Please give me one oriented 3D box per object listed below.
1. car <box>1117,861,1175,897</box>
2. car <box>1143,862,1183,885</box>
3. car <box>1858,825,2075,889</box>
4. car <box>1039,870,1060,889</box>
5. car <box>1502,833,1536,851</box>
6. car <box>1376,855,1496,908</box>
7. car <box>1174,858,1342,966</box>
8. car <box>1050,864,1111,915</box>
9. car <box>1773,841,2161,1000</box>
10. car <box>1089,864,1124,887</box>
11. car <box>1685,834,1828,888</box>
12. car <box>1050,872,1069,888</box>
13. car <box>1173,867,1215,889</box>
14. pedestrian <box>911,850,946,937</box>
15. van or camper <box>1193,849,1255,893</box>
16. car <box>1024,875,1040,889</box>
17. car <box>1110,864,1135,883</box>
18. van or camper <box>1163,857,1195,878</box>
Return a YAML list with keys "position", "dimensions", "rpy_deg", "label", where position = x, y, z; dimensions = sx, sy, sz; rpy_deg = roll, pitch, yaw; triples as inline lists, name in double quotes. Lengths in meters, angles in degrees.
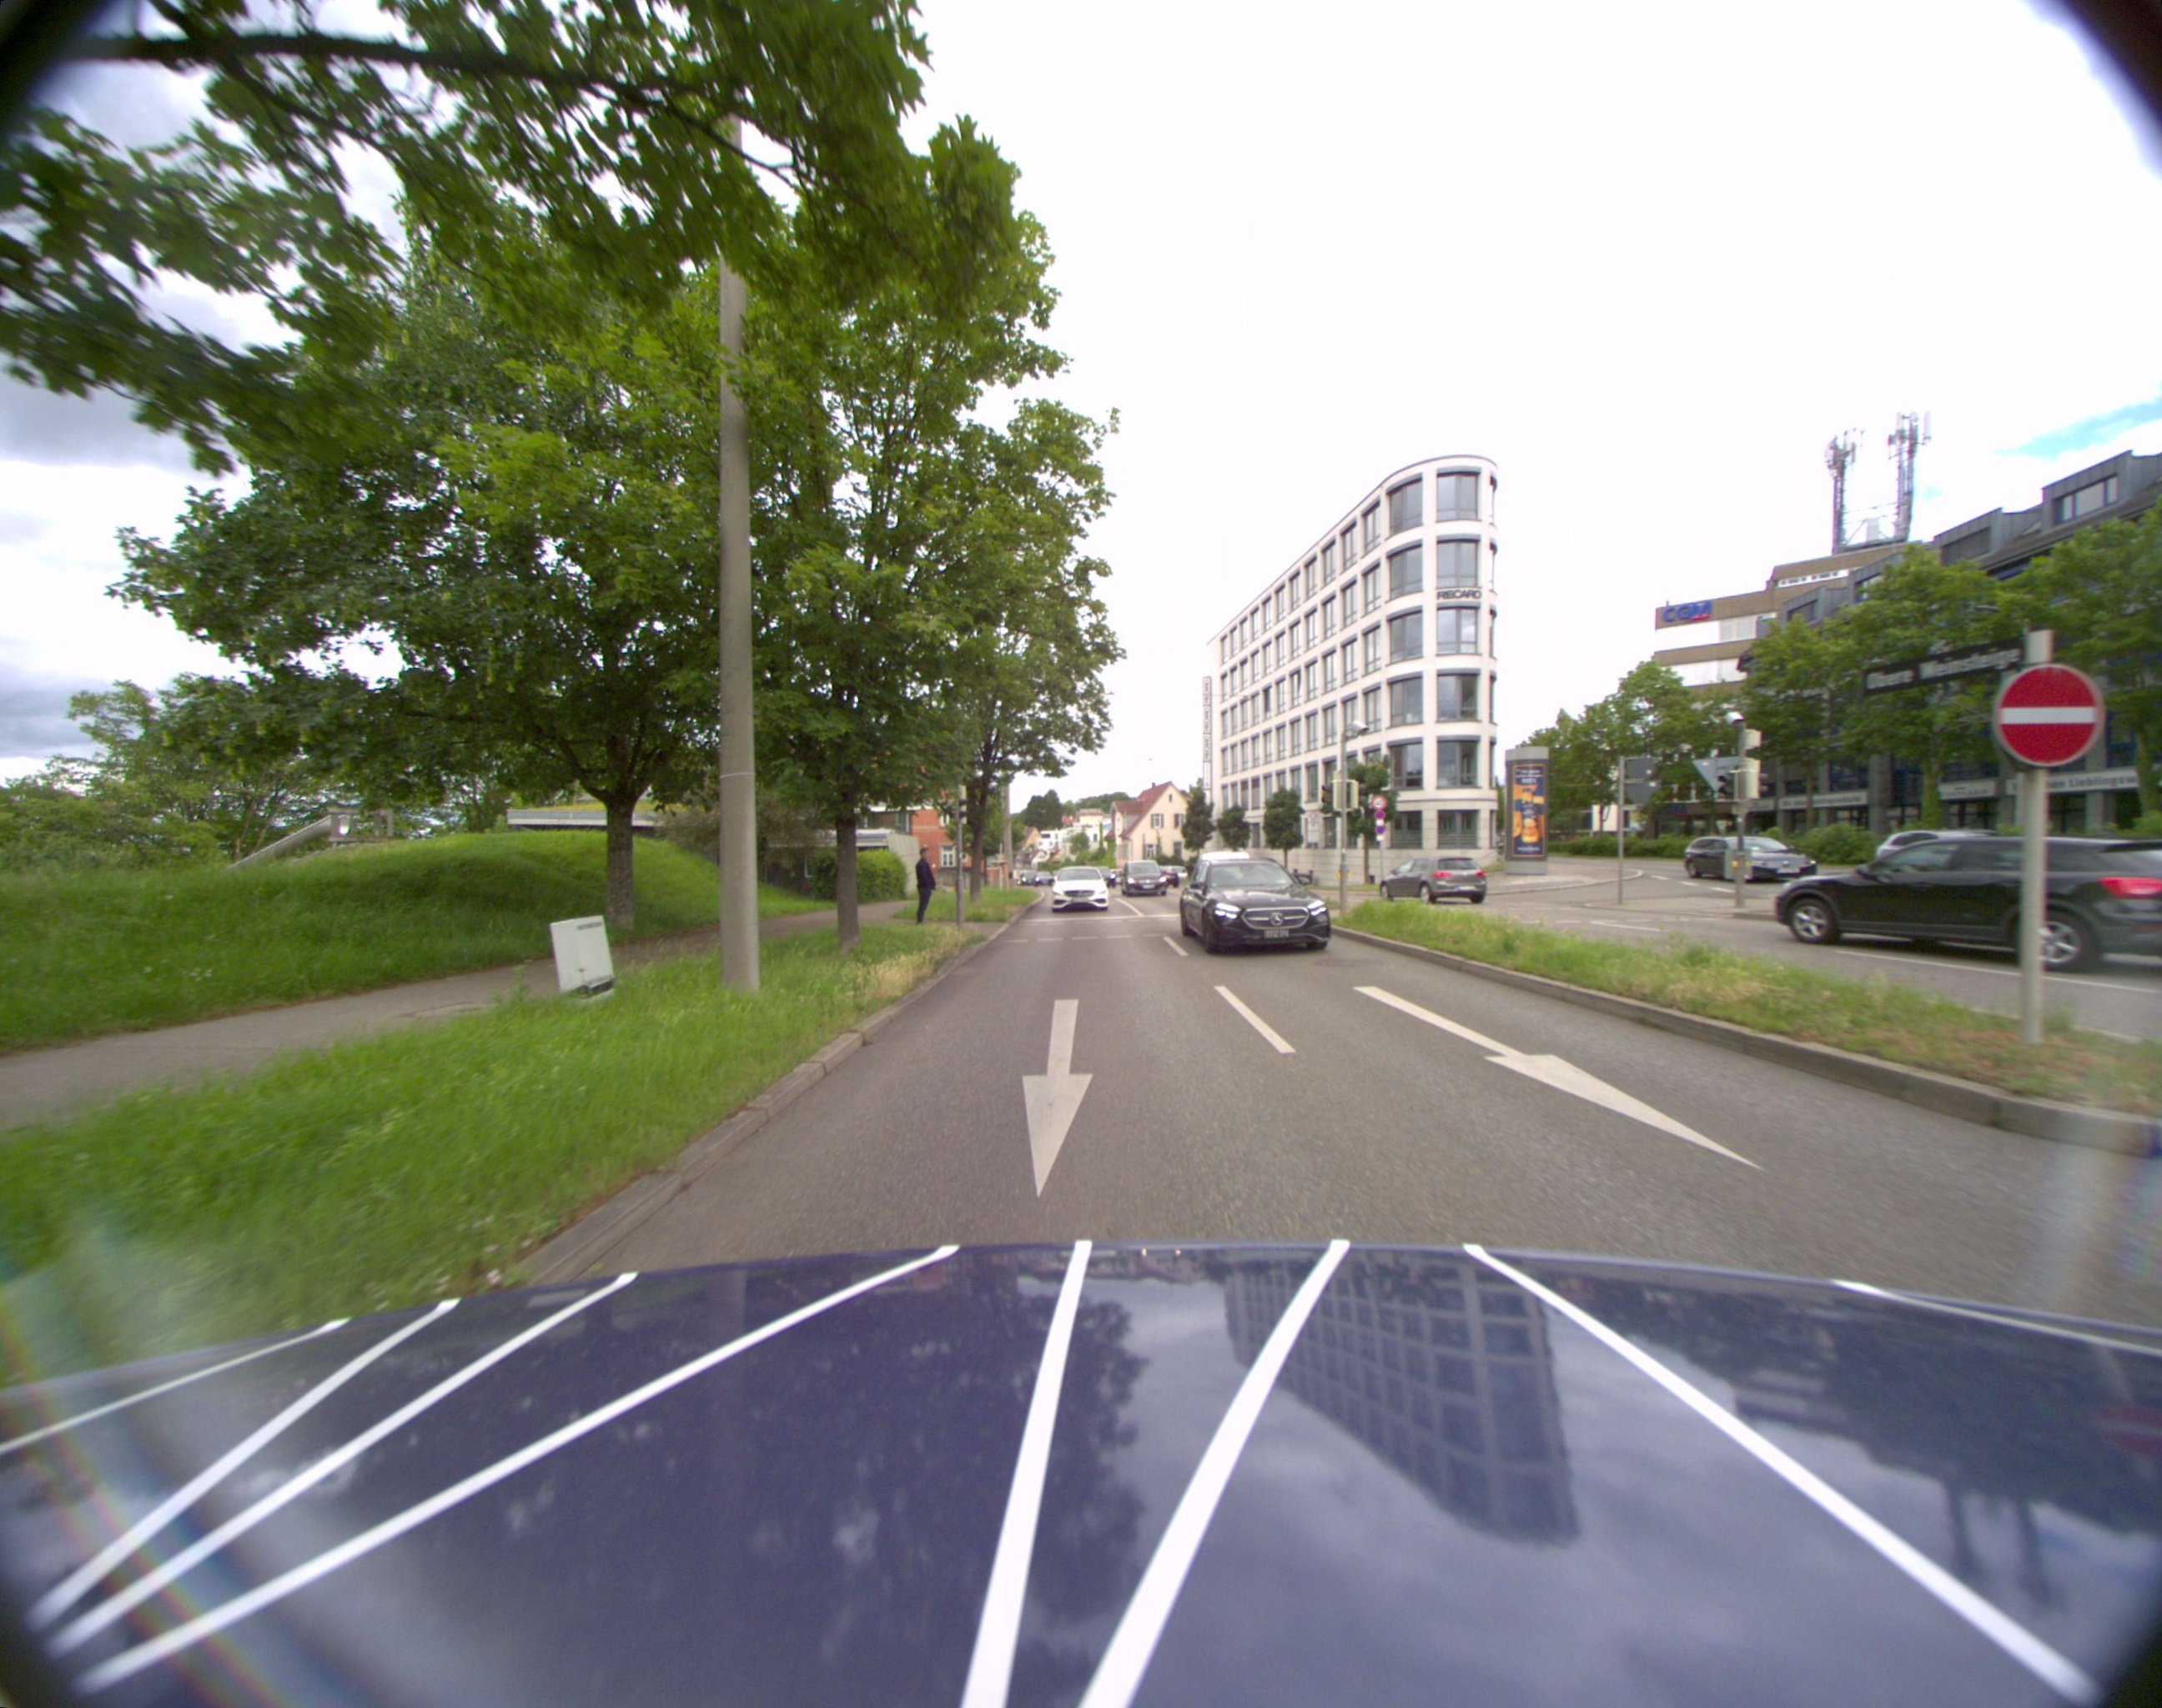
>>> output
- position: [2.965, 1.159, 35.269]
  dimensions: [1.879, 1.520, 3.999]
  rpy_deg: [-1, -2, -7]
  label: "car"
- position: [5.430, 1.316, 50.946]
  dimensions: [1.782, 1.472, 4.479]
  rpy_deg: [0, -1, -6]
  label: "car"
- position: [23.645, 0.051, 20.583]
  dimensions: [1.778, 1.454, 4.446]
  rpy_deg: [-3, 0, 19]
  label: "car"
- position: [-3.111, 2.475, 74.162]
  dimensions: [1.713, 1.679, 3.790]
  rpy_deg: [-1, 0, -8]
  label: "car"
- position: [37.847, -1.068, 65.762]
  dimensions: [1.715, 1.455, 4.445]
  rpy_deg: [-3, 1, 19]
  label: "car"
- position: [10.955, 0.785, 23.784]
  dimensions: [1.749, 1.455, 3.999]
  rpy_deg: [-2, 0, -2]
  label: "car"
- position: [2.833, 0.918, 13.221]
  dimensions: [1.878, 1.520, 4.336]
  rpy_deg: [-2, -2, 0]
  label: "car"
- position: [0.050, 1.123, 25.435]
  dimensions: [1.809, 1.521, 4.001]
  rpy_deg: [-2, 0, 2]
  label: "car"
- position: [11.082, 0.618, 9.166]
  dimensions: [1.755, 1.455, 3.999]
  rpy_deg: [-2, 0, -1]
  label: "car"
- position: [1.772, 1.537, 53.909]
  dimensions: [1.879, 1.520, 3.999]
  rpy_deg: [-1, -2, -7]
  label: "car"
- position: [21.342, 0.150, 24.257]
  dimensions: [1.778, 1.455, 4.445]
  rpy_deg: [-3, 1, 19]
  label: "car"
- position: [-2.496, 3.024, 88.247]
  dimensions: [1.713, 1.679, 3.790]
  rpy_deg: [-1, 0, -8]
  label: "car"
- position: [7.588, 1.584, 51.298]
  dimensions: [1.789, 1.370, 3.949]
  rpy_deg: [-2, -1, -7]
  label: "car"
- position: [-3.341, 0.853, 16.667]
  dimensions: [0.644, 1.844, 0.672]
  rpy_deg: [-1, -1, -6]
  label: "pedestrian"
- position: [6.993, 0.788, 37.657]
  dimensions: [1.999, 2.002, 4.448]
  rpy_deg: [-1, 0, -3]
  label: "van or camper"
- position: [-6.236, 3.514, 96.734]
  dimensions: [1.713, 1.679, 3.790]
  rpy_deg: [-1, 0, -8]
  label: "car"
- position: [3.709, 1.733, 68.186]
  dimensions: [1.782, 1.555, 3.999]
  rpy_deg: [-1, -1, -4]
  label: "car"
- position: [9.938, 1.418, 77.554]
  dimensions: [2.066, 1.955, 4.872]
  rpy_deg: [-1, -2, -6]
  label: "van or camper"
